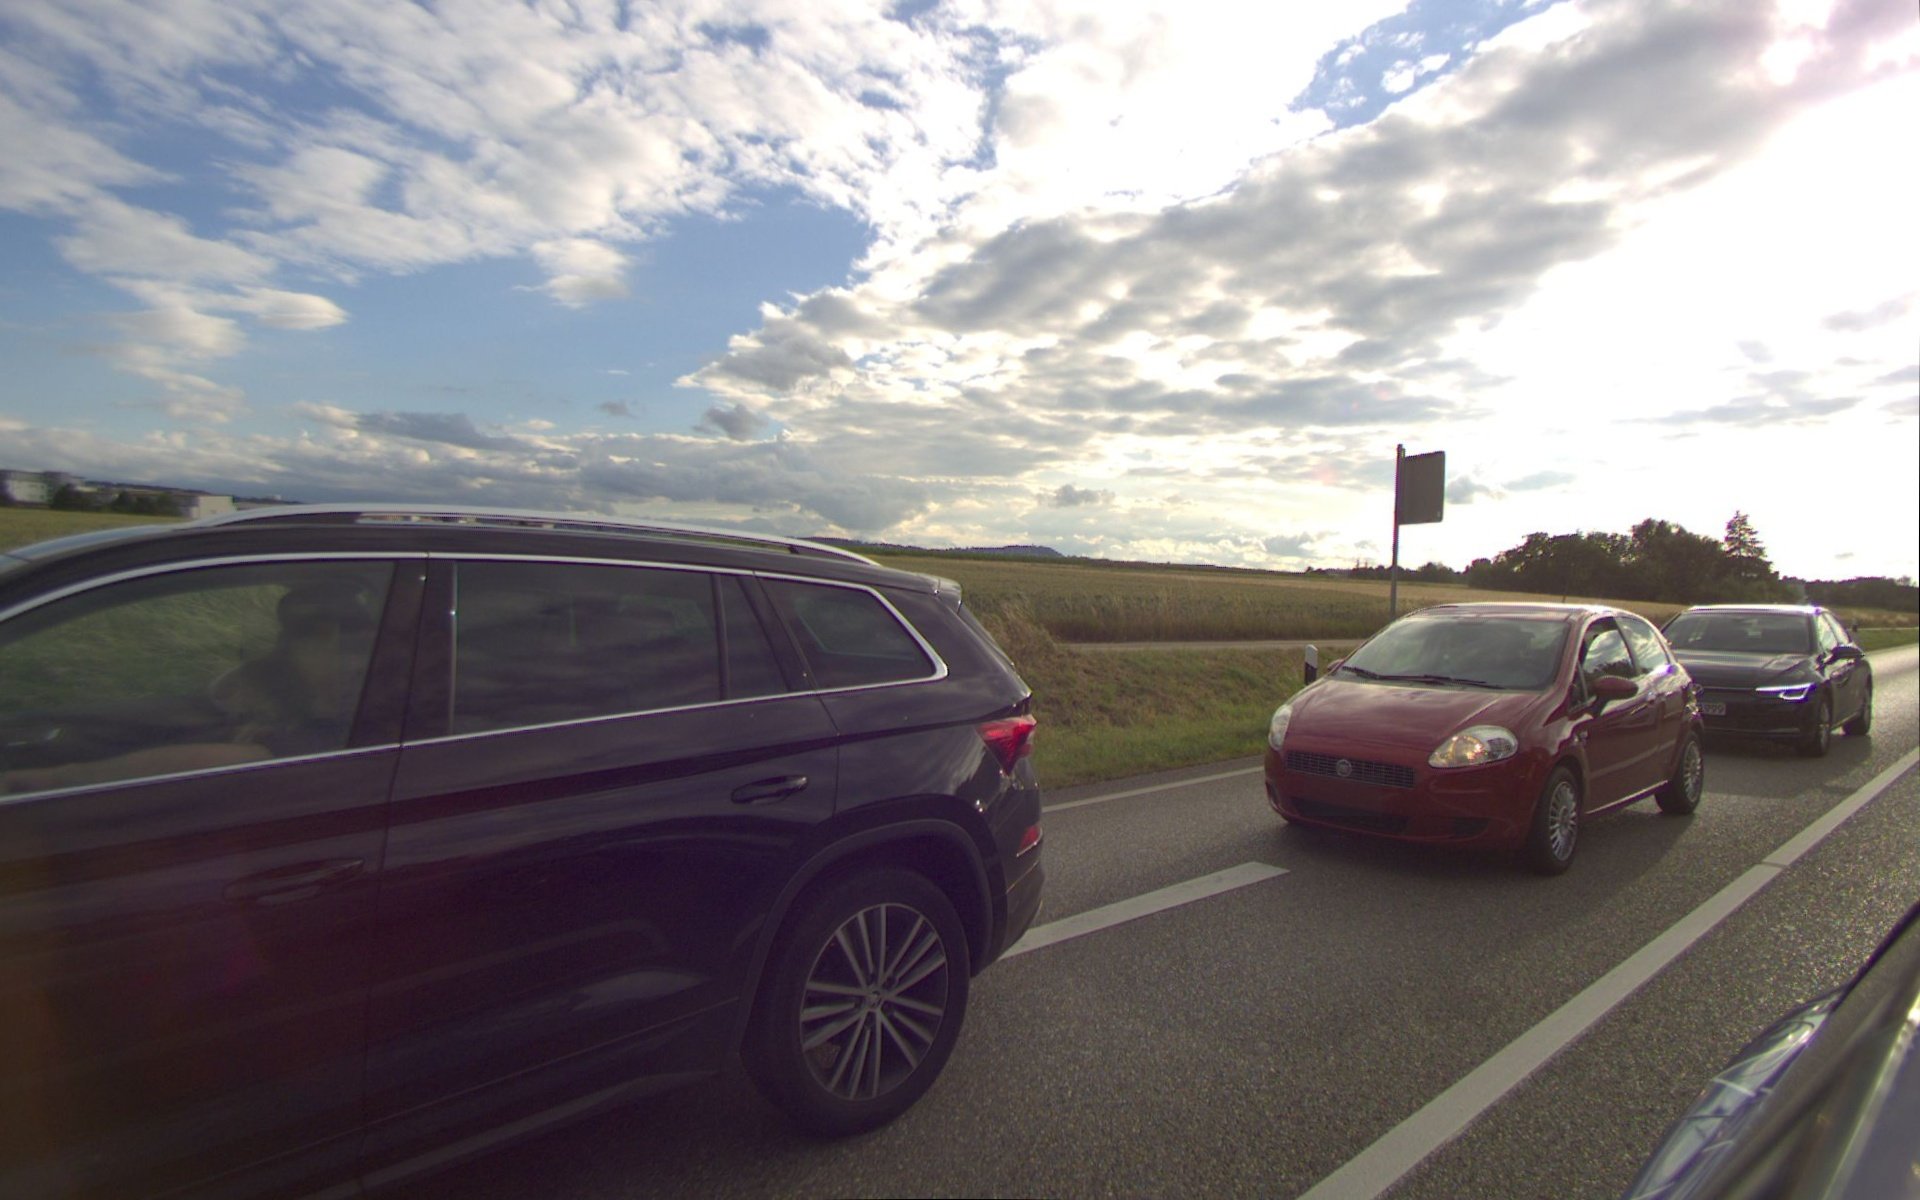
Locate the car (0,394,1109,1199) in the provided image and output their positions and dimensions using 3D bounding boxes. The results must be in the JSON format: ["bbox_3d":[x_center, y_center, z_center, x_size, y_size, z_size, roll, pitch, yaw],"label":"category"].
[{"bbox_3d":[-1.799,0.536,2.555,4.477,1.730,1.839,-1,0,-41],"label":"car"}]

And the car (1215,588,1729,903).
[{"bbox_3d":[3.542,0.672,6.704,3.840,1.475,1.710,-1,0,-41],"label":"car"}]

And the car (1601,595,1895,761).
[{"bbox_3d":[8.694,0.688,11.053,3.962,1.475,1.797,0,0,-41],"label":"car"}]
